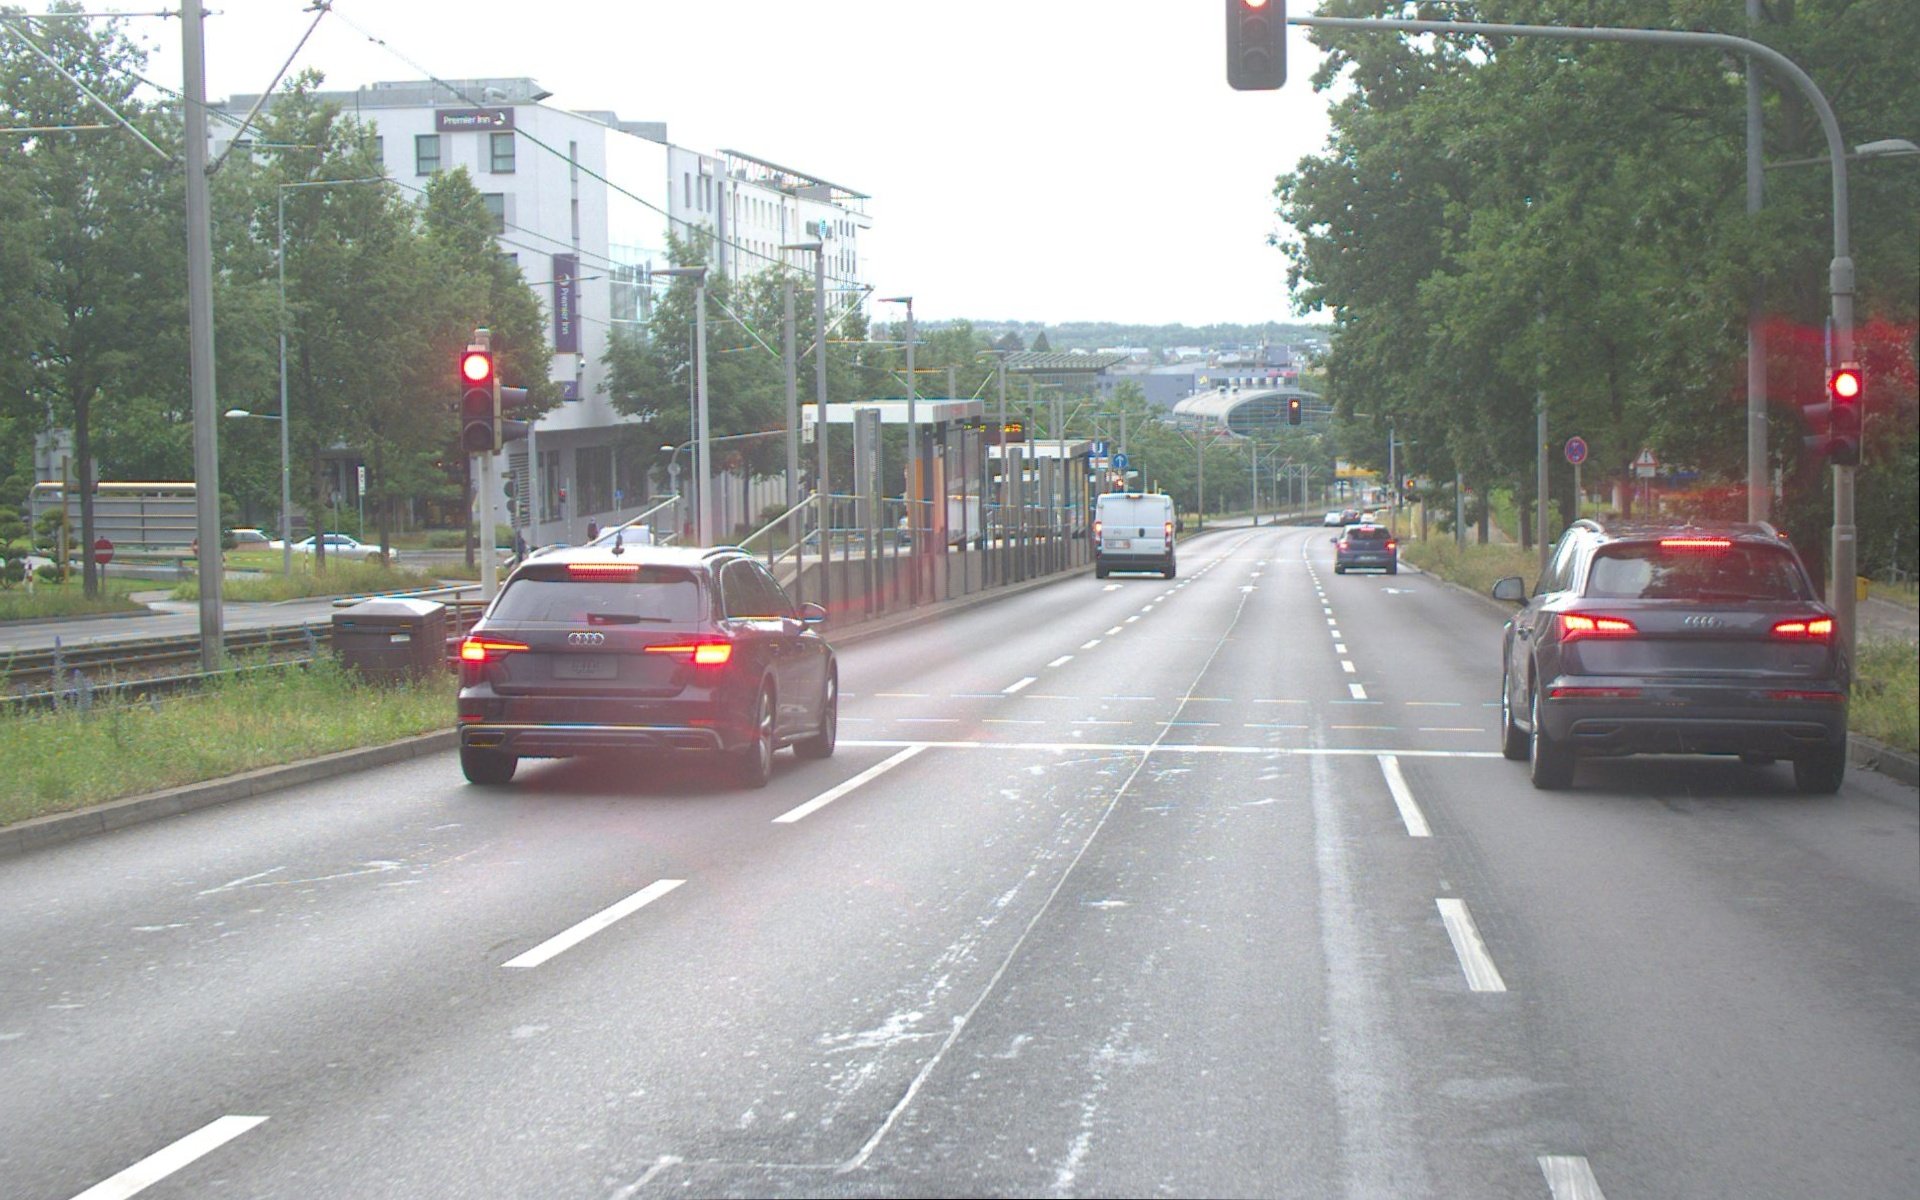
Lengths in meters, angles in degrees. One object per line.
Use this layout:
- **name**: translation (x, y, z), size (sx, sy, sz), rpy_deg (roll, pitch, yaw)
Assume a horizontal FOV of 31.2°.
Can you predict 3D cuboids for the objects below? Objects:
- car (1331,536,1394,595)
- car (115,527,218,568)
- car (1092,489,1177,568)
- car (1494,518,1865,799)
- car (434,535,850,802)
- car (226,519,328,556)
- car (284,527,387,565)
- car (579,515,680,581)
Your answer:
- **car**: translation (11.878, -1.033, 101.635), size (1.774, 1.685, 3.845), rpy_deg (1, 1, 5)
- **car**: translation (-28.041, -1.873, 121.483), size (3.373, 1.382, 1.431), rpy_deg (1, 2, 23)
- **car**: translation (4.674, -1.913, 91.590), size (2.093, 2.047, 4.606), rpy_deg (1, 1, 5)
- **car**: translation (4.518, 0.292, 22.186), size (1.818, 1.607, 4.470), rpy_deg (1, 1, 5)
- **car**: translation (-1.855, 0.336, 21.466), size (1.781, 1.461, 4.513), rpy_deg (1, 1, 5)
- **car**: translation (-28.839, -2.637, 145.233), size (4.088, 1.431, 1.656), rpy_deg (-2, 1, -9)
- **car**: translation (-25.863, -2.238, 142.400), size (3.867, 1.431, 1.656), rpy_deg (-2, 1, 3)
- **car**: translation (-9.040, -1.436, 94.453), size (1.994, 1.713, 4.840), rpy_deg (-2, 1, 3)
